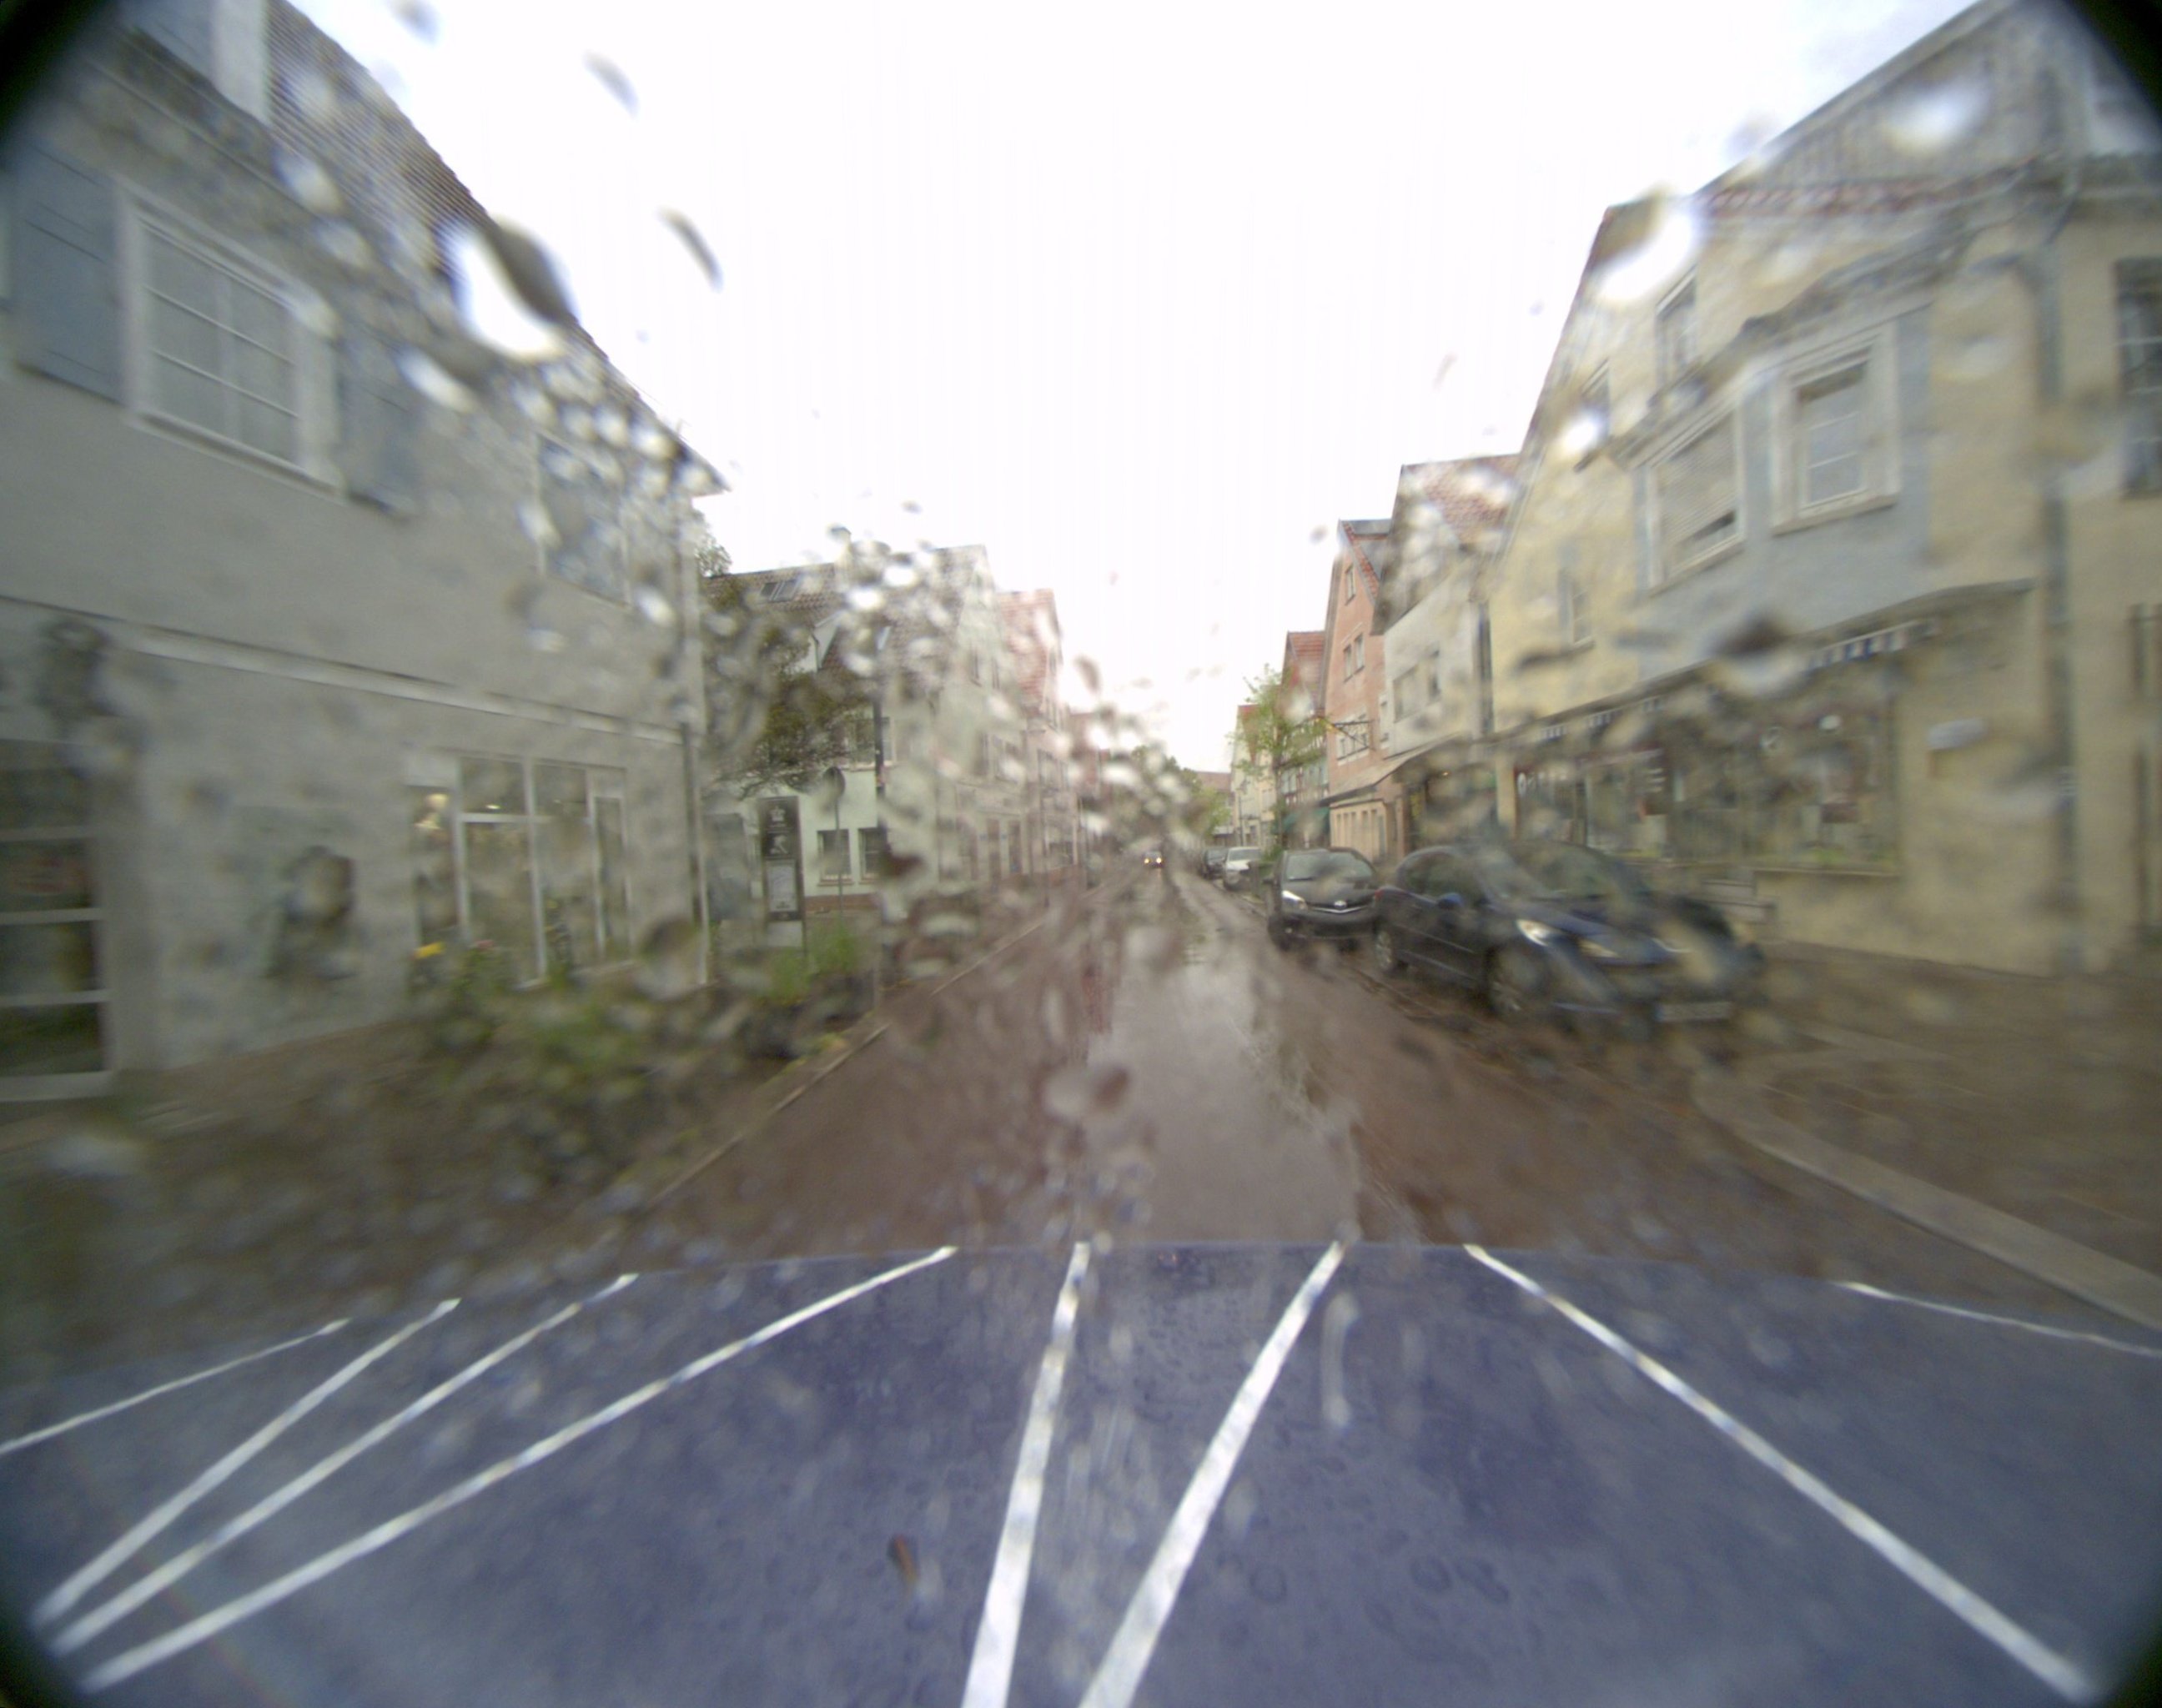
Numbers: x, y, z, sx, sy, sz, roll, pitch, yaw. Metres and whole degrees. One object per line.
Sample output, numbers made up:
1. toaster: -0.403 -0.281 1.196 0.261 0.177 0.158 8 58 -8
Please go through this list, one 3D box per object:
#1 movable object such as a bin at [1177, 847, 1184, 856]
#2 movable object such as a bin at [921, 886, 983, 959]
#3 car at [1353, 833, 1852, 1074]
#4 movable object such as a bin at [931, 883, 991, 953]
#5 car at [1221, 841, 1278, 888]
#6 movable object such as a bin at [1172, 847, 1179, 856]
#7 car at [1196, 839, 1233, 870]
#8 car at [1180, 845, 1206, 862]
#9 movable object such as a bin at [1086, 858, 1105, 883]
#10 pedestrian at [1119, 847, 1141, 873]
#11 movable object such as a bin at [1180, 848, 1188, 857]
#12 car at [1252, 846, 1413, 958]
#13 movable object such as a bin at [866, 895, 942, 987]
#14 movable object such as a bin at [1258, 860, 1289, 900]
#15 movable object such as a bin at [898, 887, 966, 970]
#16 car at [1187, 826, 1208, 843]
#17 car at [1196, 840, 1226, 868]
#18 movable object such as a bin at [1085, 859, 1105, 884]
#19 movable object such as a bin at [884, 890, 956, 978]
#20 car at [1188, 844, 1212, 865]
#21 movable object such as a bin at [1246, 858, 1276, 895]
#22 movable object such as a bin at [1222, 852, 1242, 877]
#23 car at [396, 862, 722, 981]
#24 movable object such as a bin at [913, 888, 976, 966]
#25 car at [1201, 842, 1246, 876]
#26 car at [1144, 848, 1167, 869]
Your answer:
1. movable object such as a bin: 12.403 -0.286 94.485 0.538 1.136 0.729 0 2 37
2. movable object such as a bin: -2.050 1.082 12.138 0.756 1.058 0.600 -4 2 8
3. car: 4.125 0.660 6.947 1.761 1.465 3.944 -4 0 0
4. movable object such as a bin: -2.001 1.062 12.739 0.769 1.073 0.599 -4 2 8
5. car: 6.259 0.377 28.620 1.695 1.529 4.123 -4 0 8
6. movable object such as a bin: 11.849 -0.277 94.878 0.538 1.124 0.729 0 2 37
7. car: 7.961 0.028 45.659 1.828 1.656 4.645 -4 0 7
8. car: 10.186 -0.057 69.335 1.866 1.433 4.620 -3 0 2
9. movable object such as a bin: 0.667 0.752 34.349 0.794 1.074 0.615 -2 2 4
10. pedestrian: 3.333 0.426 51.733 1.174 1.672 0.791 -3 3 23
11. movable object such as a bin: 12.783 -0.180 94.136 0.726 1.077 0.605 -2 3 30
12. car: 3.854 0.662 12.308 1.695 1.435 3.886 -4 0 7
13. movable object such as a bin: -2.259 1.100 9.774 0.755 1.084 0.656 -2 1 4
14. movable object such as a bin: 5.360 0.716 21.199 0.710 1.046 0.704 -4 0 8
15. movable object such as a bin: -2.140 1.058 10.973 0.737 1.092 0.611 -3 2 6
16. car: 11.519 -1.880 74.935 1.865 1.515 4.330 -4 0 9
17. car: 8.979 -0.043 52.762 1.828 1.657 4.643 -4 2 7
18. movable object such as a bin: 0.618 0.777 33.736 0.798 1.074 0.582 -2 2 4
19. movable object such as a bin: -2.187 1.077 10.371 0.737 1.092 0.611 -3 2 6
20. car: 9.984 0.023 63.817 1.865 1.515 4.330 -4 0 9
21. movable object such as a bin: 5.629 0.688 23.779 0.788 1.078 0.693 -4 0 9
22. movable object such as a bin: 7.046 0.493 35.496 0.771 1.076 0.676 -3 2 2
23. car: -9.012 1.042 13.419 1.883 1.590 4.400 -2 0 44
24. movable object such as a bin: -2.065 1.098 11.546 0.730 1.085 0.521 -4 2 8
25. car: 7.255 0.231 39.125 1.784 1.529 4.292 -4 0 5
26. car: 6.251 0.367 63.764 1.784 1.529 4.292 -4 0 5
